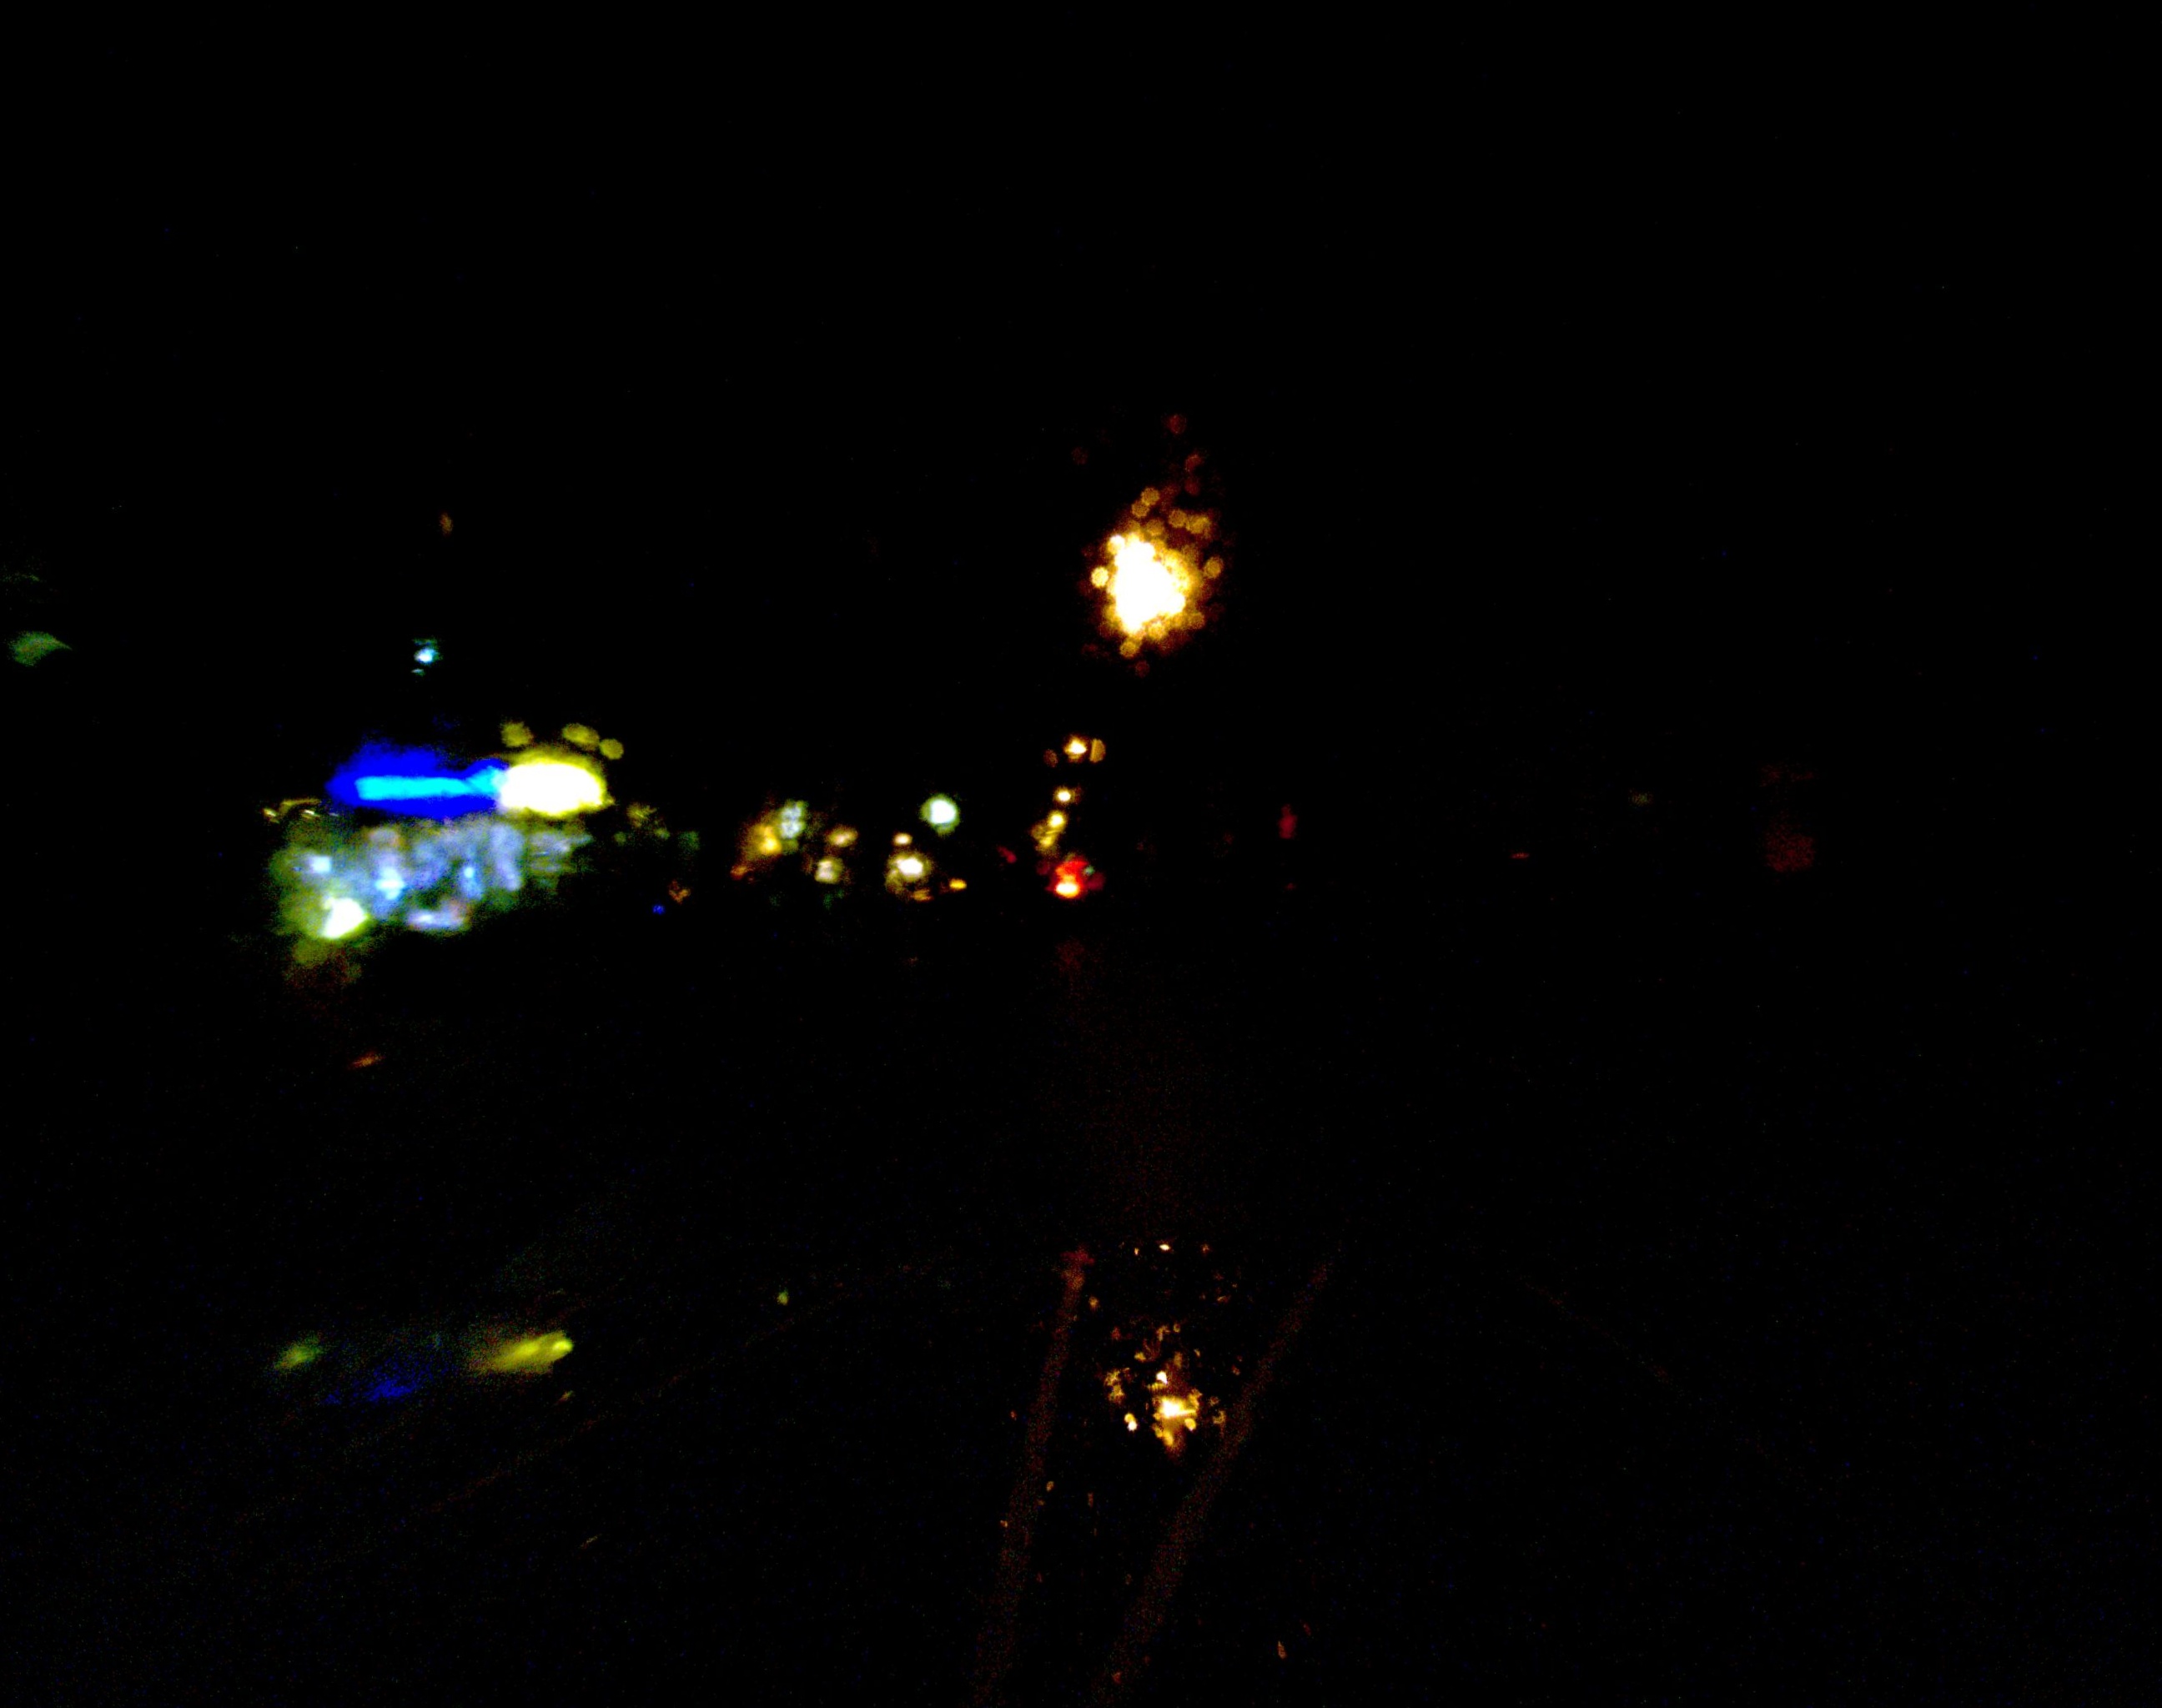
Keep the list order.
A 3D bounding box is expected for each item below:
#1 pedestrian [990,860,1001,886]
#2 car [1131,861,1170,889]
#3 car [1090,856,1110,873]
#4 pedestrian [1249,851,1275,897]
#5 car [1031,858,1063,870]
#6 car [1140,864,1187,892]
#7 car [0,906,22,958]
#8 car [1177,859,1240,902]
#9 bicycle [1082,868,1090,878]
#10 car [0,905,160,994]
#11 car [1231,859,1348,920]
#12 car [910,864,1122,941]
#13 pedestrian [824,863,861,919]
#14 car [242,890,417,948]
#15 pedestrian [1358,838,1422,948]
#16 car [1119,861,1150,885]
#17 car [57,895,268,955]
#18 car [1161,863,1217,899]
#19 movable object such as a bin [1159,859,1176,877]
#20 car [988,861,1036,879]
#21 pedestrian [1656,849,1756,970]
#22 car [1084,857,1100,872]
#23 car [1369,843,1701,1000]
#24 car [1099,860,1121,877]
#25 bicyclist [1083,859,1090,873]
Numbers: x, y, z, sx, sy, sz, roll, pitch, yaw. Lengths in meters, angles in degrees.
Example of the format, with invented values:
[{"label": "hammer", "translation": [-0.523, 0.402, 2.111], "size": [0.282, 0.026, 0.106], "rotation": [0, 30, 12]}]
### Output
[{"label": "pedestrian", "translation": [-5.934, 1.320, 52.578], "size": [0.704, 1.777, 0.624], "rotation": [0, -1, 1]}, {"label": "car", "translation": [4.252, 1.239, 46.872], "size": [1.779, 1.563, 4.133], "rotation": [-2, 0, -3]}, {"label": "car", "translation": [2.158, 1.240, 88.801], "size": [2.001, 1.818, 5.206], "rotation": [-2, 0, -2]}, {"label": "pedestrian", "translation": [7.361, 0.789, 30.922], "size": [0.745, 1.794, 0.986], "rotation": [-4, 1, 1]}, {"label": "car", "translation": [-4.668, 1.335, 103.022], "size": [3.990, 1.368, 1.756], "rotation": [-4, 1, 36]}, {"label": "car", "translation": [4.424, 1.259, 41.164], "size": [1.827, 1.381, 4.424], "rotation": [-2, 0, -3]}, {"label": "car", "translation": [-32.579, 2.287, 21.292], "size": [3.413, 1.449, 1.610], "rotation": [-2, 0, -1]}, {"label": "car", "translation": [5.146, 1.020, 31.099], "size": [1.750, 1.579, 3.765], "rotation": [-2, 0, -3]}, {"label": "bicycle", "translation": [0.577, 2.079, 82.769], "size": [0.729, 1.066, 2.348], "rotation": [-1, 0, -3]}, {"label": "car", "translation": [-21.180, 1.860, 14.588], "size": [4.420, 1.493, 1.770], "rotation": [-2, 0, -6]}, {"label": "car", "translation": [5.741, 0.926, 21.581], "size": [1.837, 1.477, 4.593], "rotation": [-2, 0, -3]}, {"label": "car", "translation": [-1.527, 1.043, 17.745], "size": [4.563, 1.608, 1.930], "rotation": [0, -1, 23]}, {"label": "pedestrian", "translation": [-7.761, 1.190, 24.751], "size": [0.864, 1.777, 1.083], "rotation": [0, -1, 1]}, {"label": "car", "translation": [-21.845, 1.871, 22.186], "size": [3.413, 1.449, 1.610], "rotation": [-2, 0, -1]}, {"label": "pedestrian", "translation": [5.755, 0.711, 14.187], "size": [0.770, 1.962, 0.657], "rotation": [-4, 1, -9]}, {"label": "car", "translation": [3.764, 1.320, 53.586], "size": [1.676, 1.482, 3.721], "rotation": [-3, 0, -3]}, {"label": "car", "translation": [-26.199, 2.009, 21.775], "size": [3.977, 1.449, 1.610], "rotation": [-2, 0, -1]}, {"label": "car", "translation": [5.046, 1.226, 35.979], "size": [1.837, 1.472, 4.306], "rotation": [-2, 0, -3]}, {"label": "movable object such as a bin", "translation": [6.902, 1.115, 60.731], "size": [1.104, 1.445, 1.378], "rotation": [-1, 0, -5]}, {"label": "car", "translation": [-6.656, 1.542, 73.351], "size": [4.525, 1.521, 1.780], "rotation": [2, 0, -3]}, {"label": "pedestrian", "translation": [8.567, 0.737, 10.431], "size": [0.658, 1.543, 0.761], "rotation": [-4, 1, -17]}, {"label": "car", "translation": [1.428, 1.429, 103.884], "size": [1.908, 1.818, 4.828], "rotation": [-2, 0, -2]}, {"label": "car", "translation": [6.039, 0.777, 10.929], "size": [1.837, 1.707, 4.593], "rotation": [-2, 0, -3]}, {"label": "car", "translation": [2.870, 1.420, 76.442], "size": [1.772, 1.474, 4.771], "rotation": [-5, 0, -2]}, {"label": "bicyclist", "translation": [0.619, 1.292, 82.693], "size": [0.720, 1.547, 0.895], "rotation": [-1, 0, -3]}]
